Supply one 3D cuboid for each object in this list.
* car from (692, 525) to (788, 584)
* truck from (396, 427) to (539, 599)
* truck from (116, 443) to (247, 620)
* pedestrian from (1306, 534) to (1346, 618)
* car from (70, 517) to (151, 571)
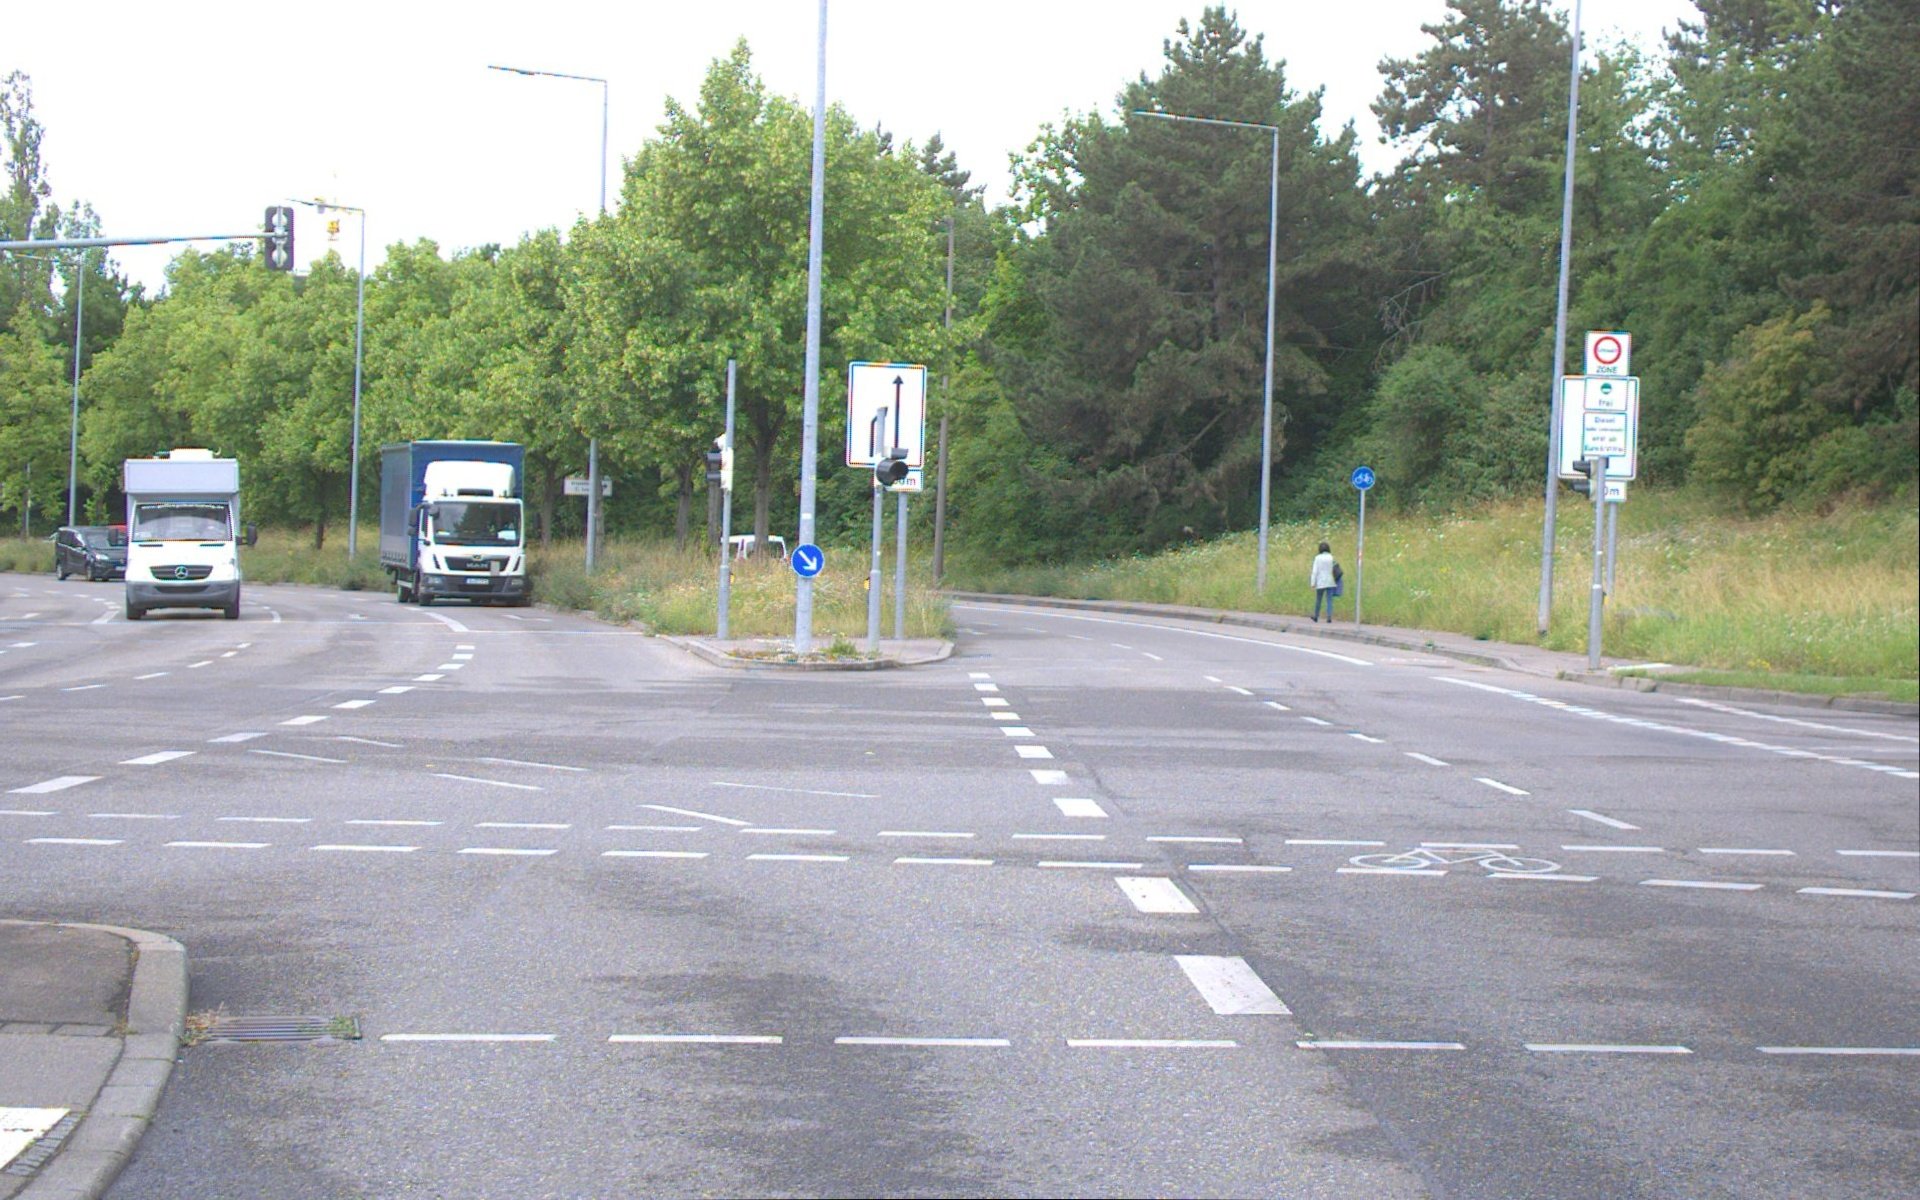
[{"bbox_3d":[-6.735,-1.402,104.902,1.993,1.722,3.729,0,1,-19],"label":"car"},{"bbox_3d":[-11.613,-2.011,80.495,2.778,3.791,8.392,1,1,-12],"label":"truck"},{"bbox_3d":[-14.293,-1.255,63.274,2.104,3.000,6.275,-3,1,-12],"label":"truck"},{"bbox_3d":[7.529,-0.497,70.738,0.739,1.711,0.625,1,1,-1],"label":"pedestrian"},{"bbox_3d":[-28.749,-1.912,116.299,1.993,1.777,4.001,0,1,-23],"label":"car"}]
